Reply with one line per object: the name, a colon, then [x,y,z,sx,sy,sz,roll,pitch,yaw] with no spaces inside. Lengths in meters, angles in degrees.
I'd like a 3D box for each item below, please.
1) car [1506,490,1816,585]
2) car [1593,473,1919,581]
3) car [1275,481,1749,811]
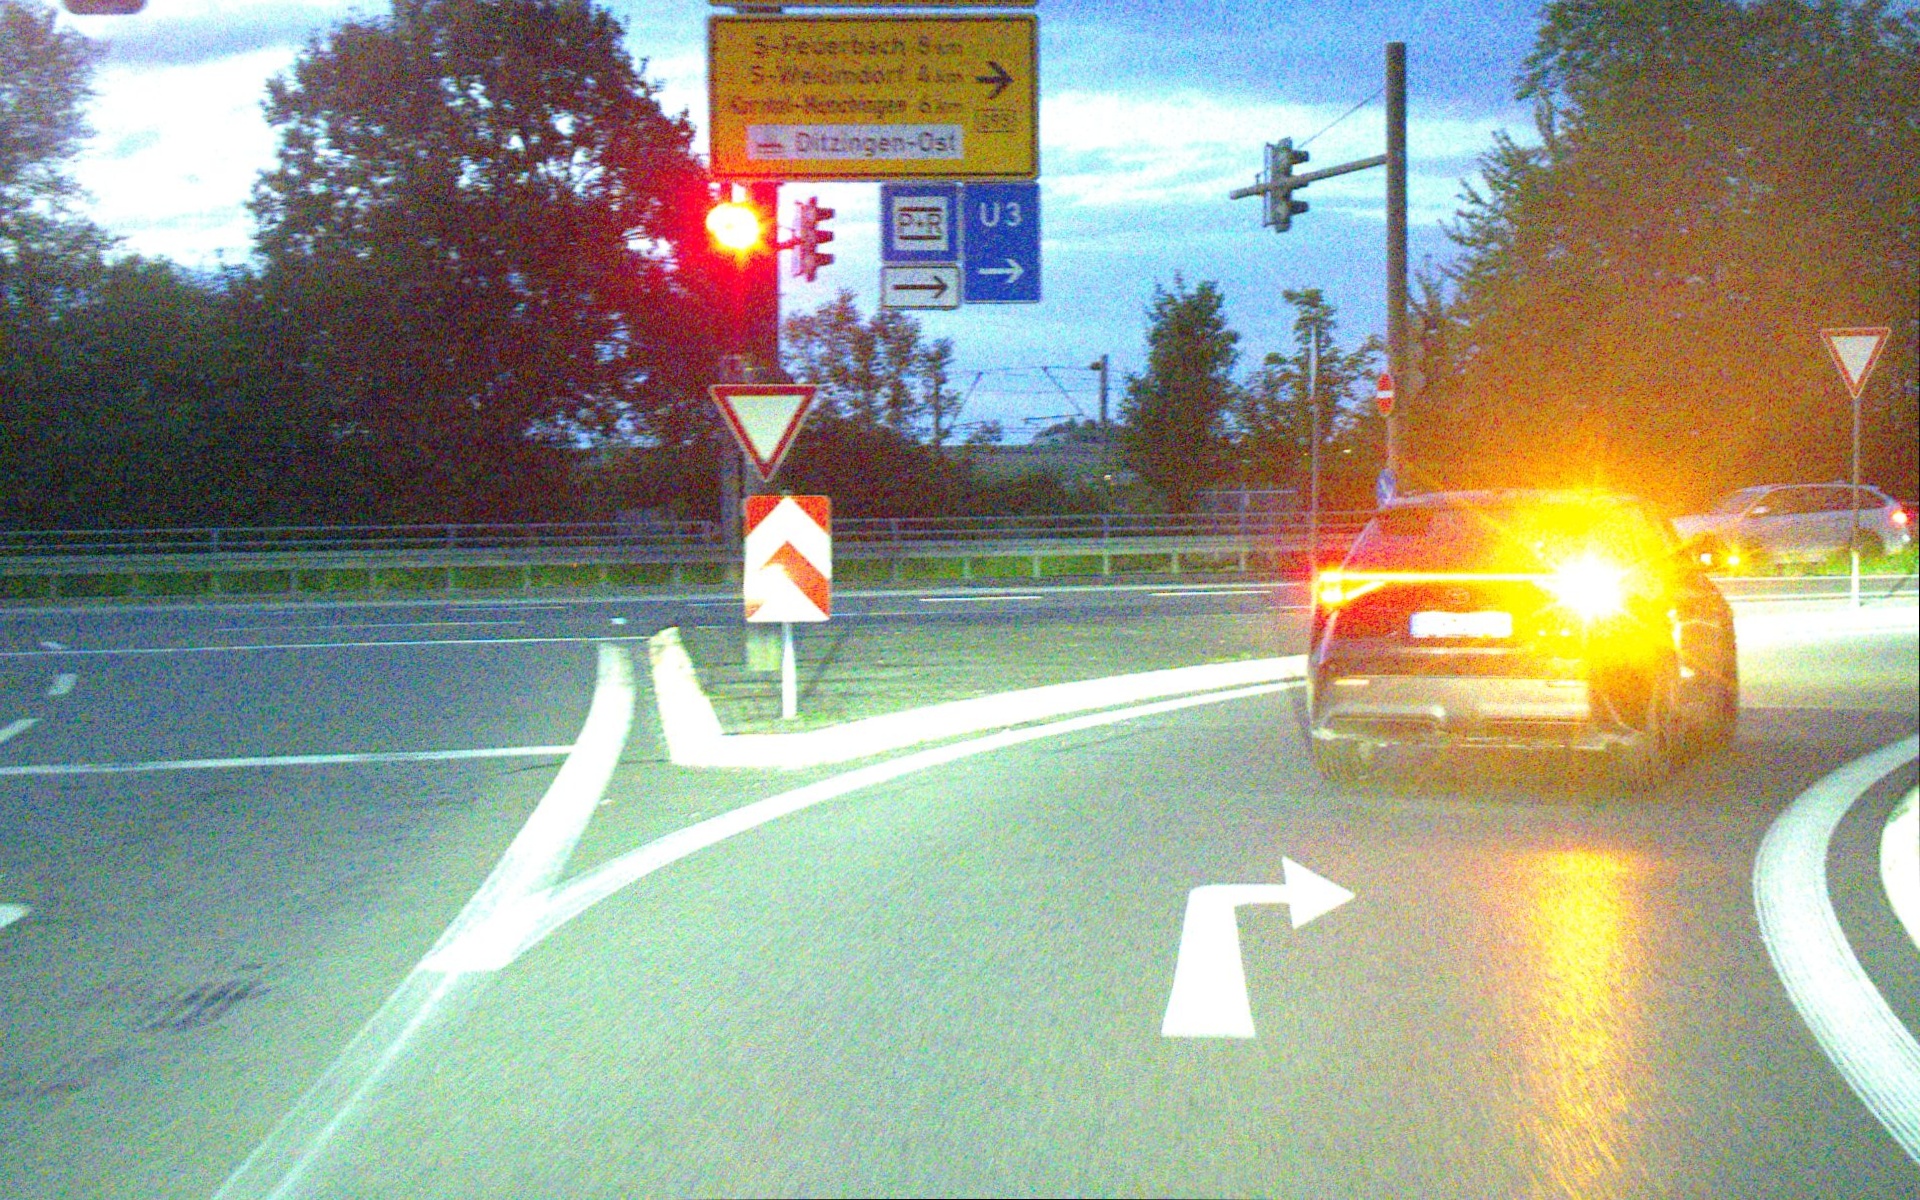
car: [11.835,-1.063,58.130,4.717,1.448,2.001,-2,1,-16]
car: [12.742,-1.161,54.723,4.856,1.676,2.001,0,1,-17]
car: [3.272,0.147,19.600,1.903,1.614,4.552,2,2,19]
